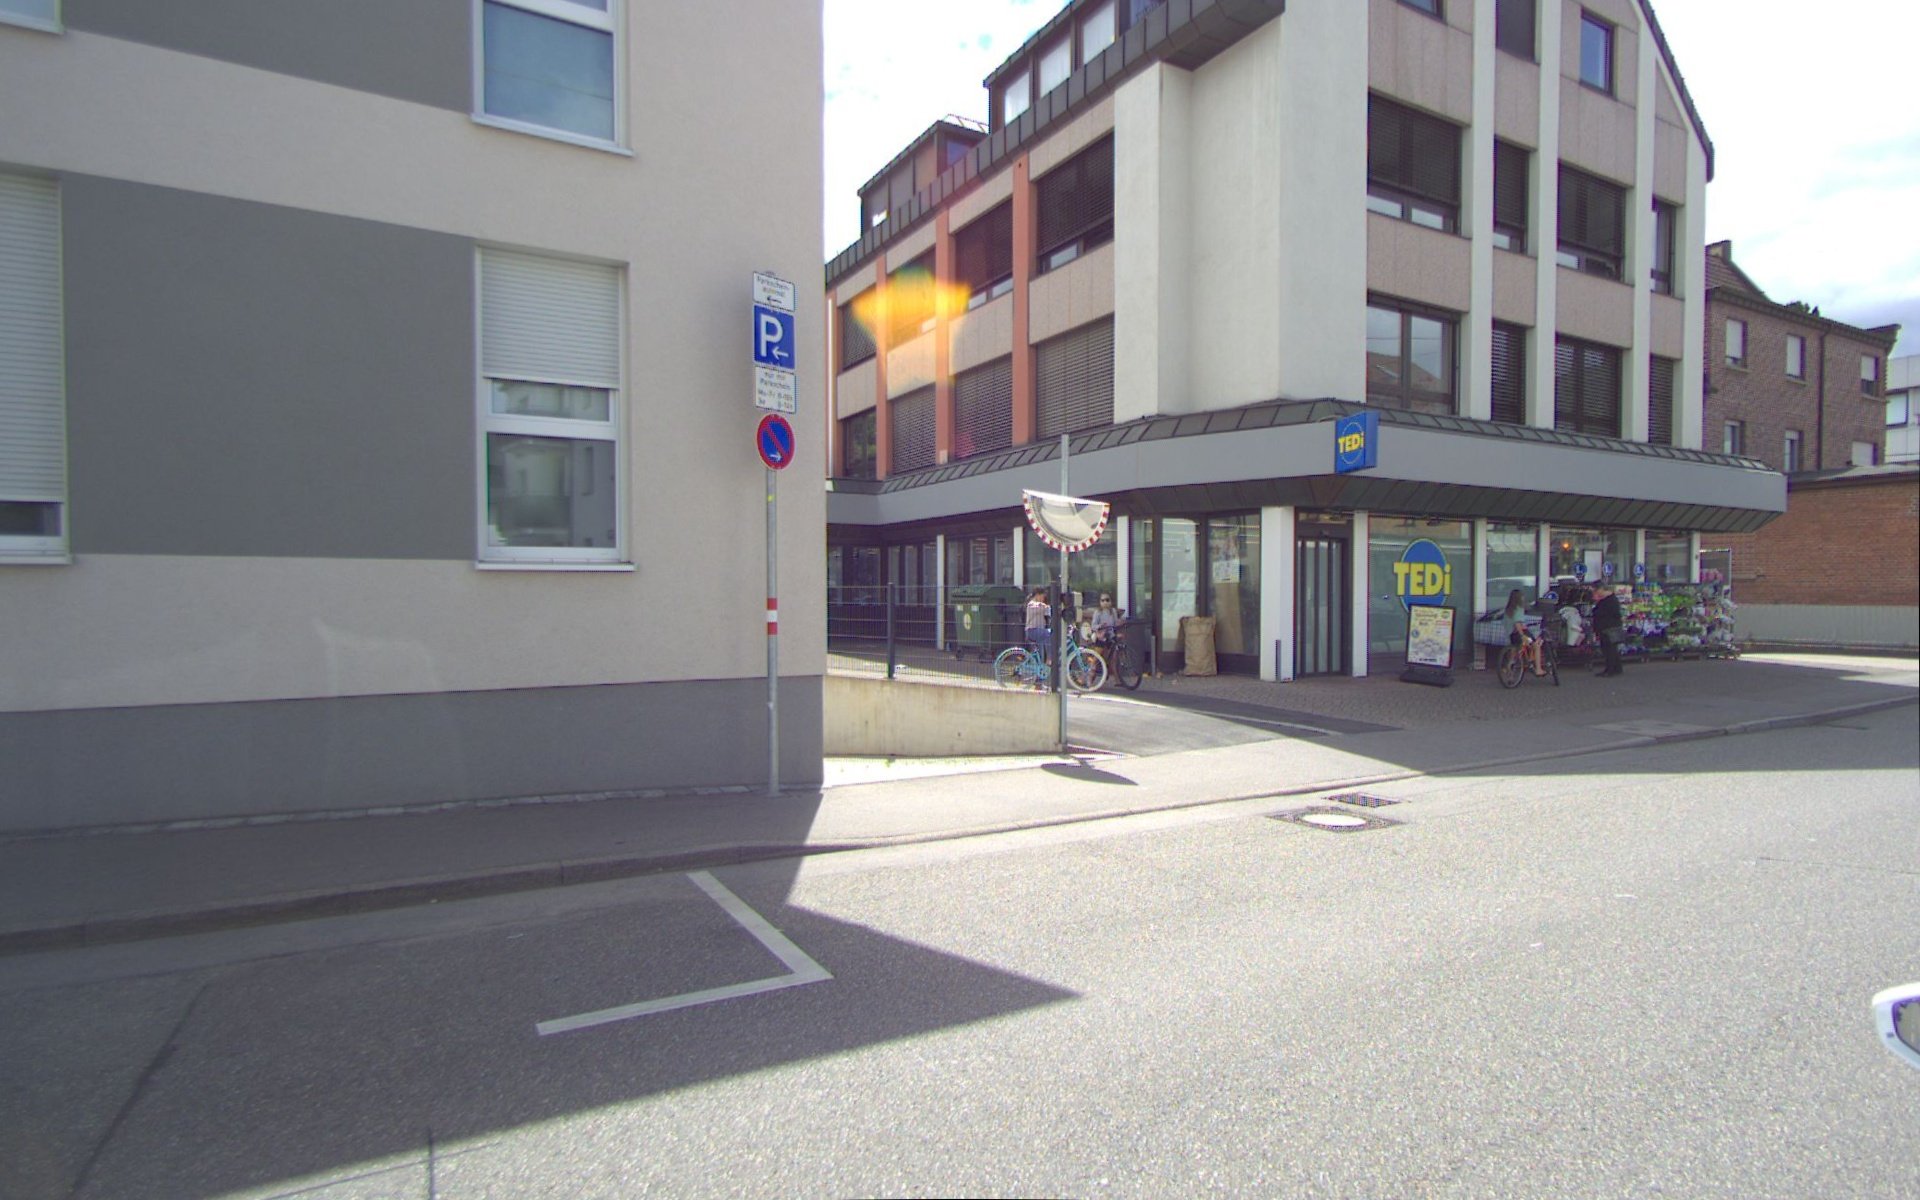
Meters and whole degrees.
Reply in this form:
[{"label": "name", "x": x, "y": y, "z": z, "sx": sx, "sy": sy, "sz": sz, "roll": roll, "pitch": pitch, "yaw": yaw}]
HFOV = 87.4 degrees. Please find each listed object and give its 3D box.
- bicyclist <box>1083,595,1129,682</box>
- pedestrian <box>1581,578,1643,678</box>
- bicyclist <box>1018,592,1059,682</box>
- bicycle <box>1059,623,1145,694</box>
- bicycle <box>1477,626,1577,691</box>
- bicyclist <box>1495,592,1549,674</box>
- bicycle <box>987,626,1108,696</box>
[{"label": "bicyclist", "x": 2.043, "y": 0.532, "z": 14.113, "sx": 0.392, "sy": 1.197, "sz": 0.495, "roll": 1, "pitch": 1, "yaw": -30}, {"label": "pedestrian", "x": 10.797, "y": 0.458, "z": 16.639, "sx": 0.555, "sy": 1.624, "sz": 0.626, "roll": 1, "pitch": 1, "yaw": -25}, {"label": "bicyclist", "x": 1.073, "y": 0.502, "z": 13.759, "sx": 0.489, "sy": 1.197, "sz": 0.397, "roll": 1, "pitch": 1, "yaw": 11}, {"label": "bicycle", "x": 1.983, "y": 0.798, "z": 14.175, "sx": 0.299, "sy": 0.908, "sz": 1.543, "roll": 0, "pitch": 0, "yaw": -31}, {"label": "bicycle", "x": 8.503, "y": 0.855, "z": 15.049, "sx": 1.756, "sy": 0.873, "sz": 0.465, "roll": -1, "pitch": 2, "yaw": -30}, {"label": "bicyclist", "x": 8.420, "y": 0.492, "z": 15.053, "sx": 0.617, "sy": 1.194, "sz": 0.455, "roll": 1, "pitch": 0, "yaw": -30}, {"label": "bicycle", "x": 1.191, "y": 0.823, "z": 13.735, "sx": 1.619, "sy": 0.908, "sz": 0.303, "roll": 1, "pitch": 0, "yaw": 11}]
